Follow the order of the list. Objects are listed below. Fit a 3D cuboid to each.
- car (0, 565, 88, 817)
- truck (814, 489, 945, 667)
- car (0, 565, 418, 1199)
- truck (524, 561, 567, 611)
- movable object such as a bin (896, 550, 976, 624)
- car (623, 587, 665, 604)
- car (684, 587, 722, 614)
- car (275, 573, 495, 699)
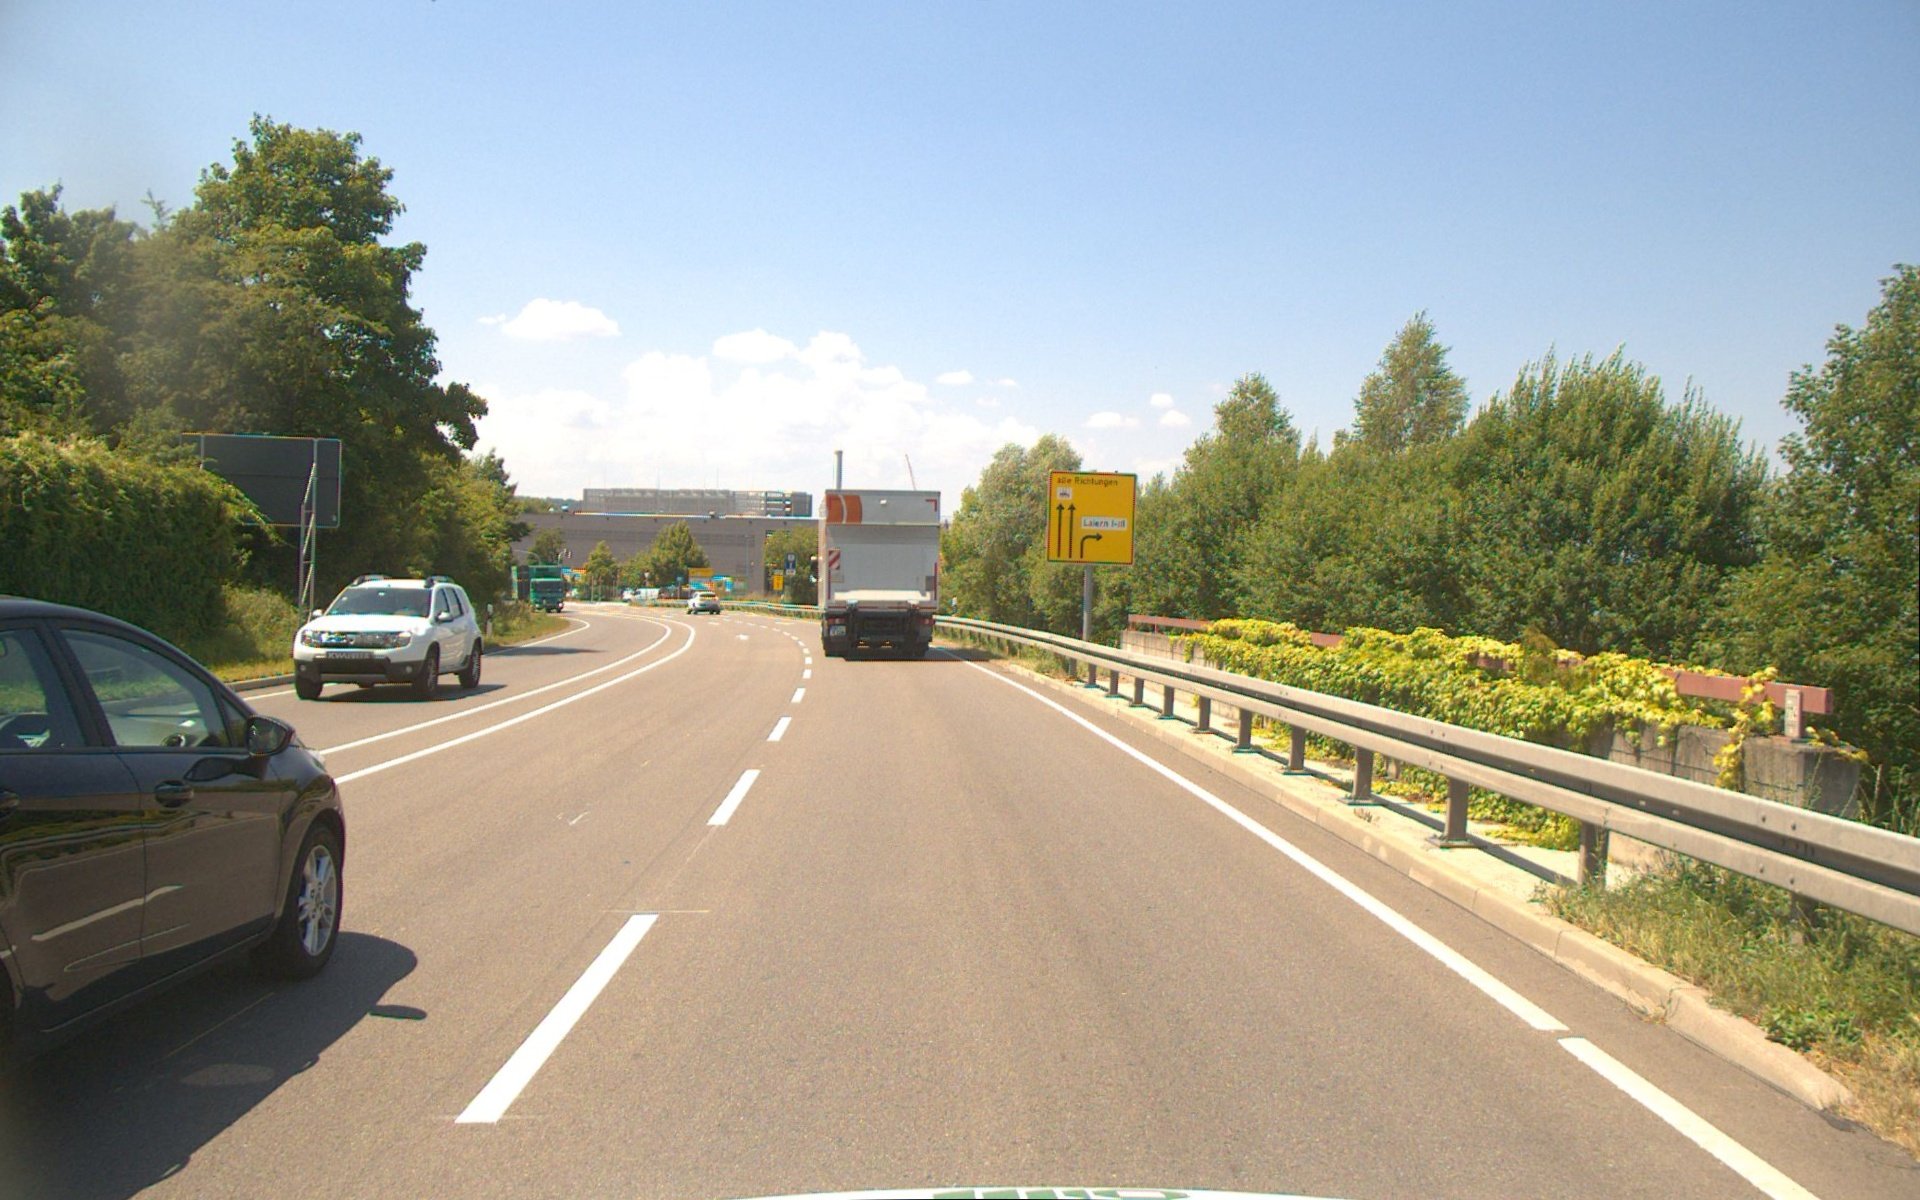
[{"bbox_3d":[-6.981,0.578,9.410,1.801,1.620,4.812,2,0,-5],"label":"car"},{"bbox_3d":[-1.768,-0.530,39.915,2.746,3.775,9.107,1,1,0],"label":"truck"},{"bbox_3d":[-3.137,0.675,5.078,1.619,1.519,4.207,1,1,-1],"label":"car"},{"bbox_3d":[-31.708,-1.078,126.342,2.823,3.636,9.387,0,0,-17],"label":"truck"},{"bbox_3d":[-1.978,-1.114,130.182,3.374,5.351,9.177,2,2,-20],"label":"movable object such as a bin"},{"bbox_3d":[-38.179,-0.528,199.880,4.649,1.966,2.153,0,0,-2],"label":"car"},{"bbox_3d":[-17.478,0.031,112.357,1.913,1.693,3.982,3,-1,-17],"label":"car"},{"bbox_3d":[-8.141,0.459,23.823,1.954,1.657,4.193,0,0,-4],"label":"car"}]
